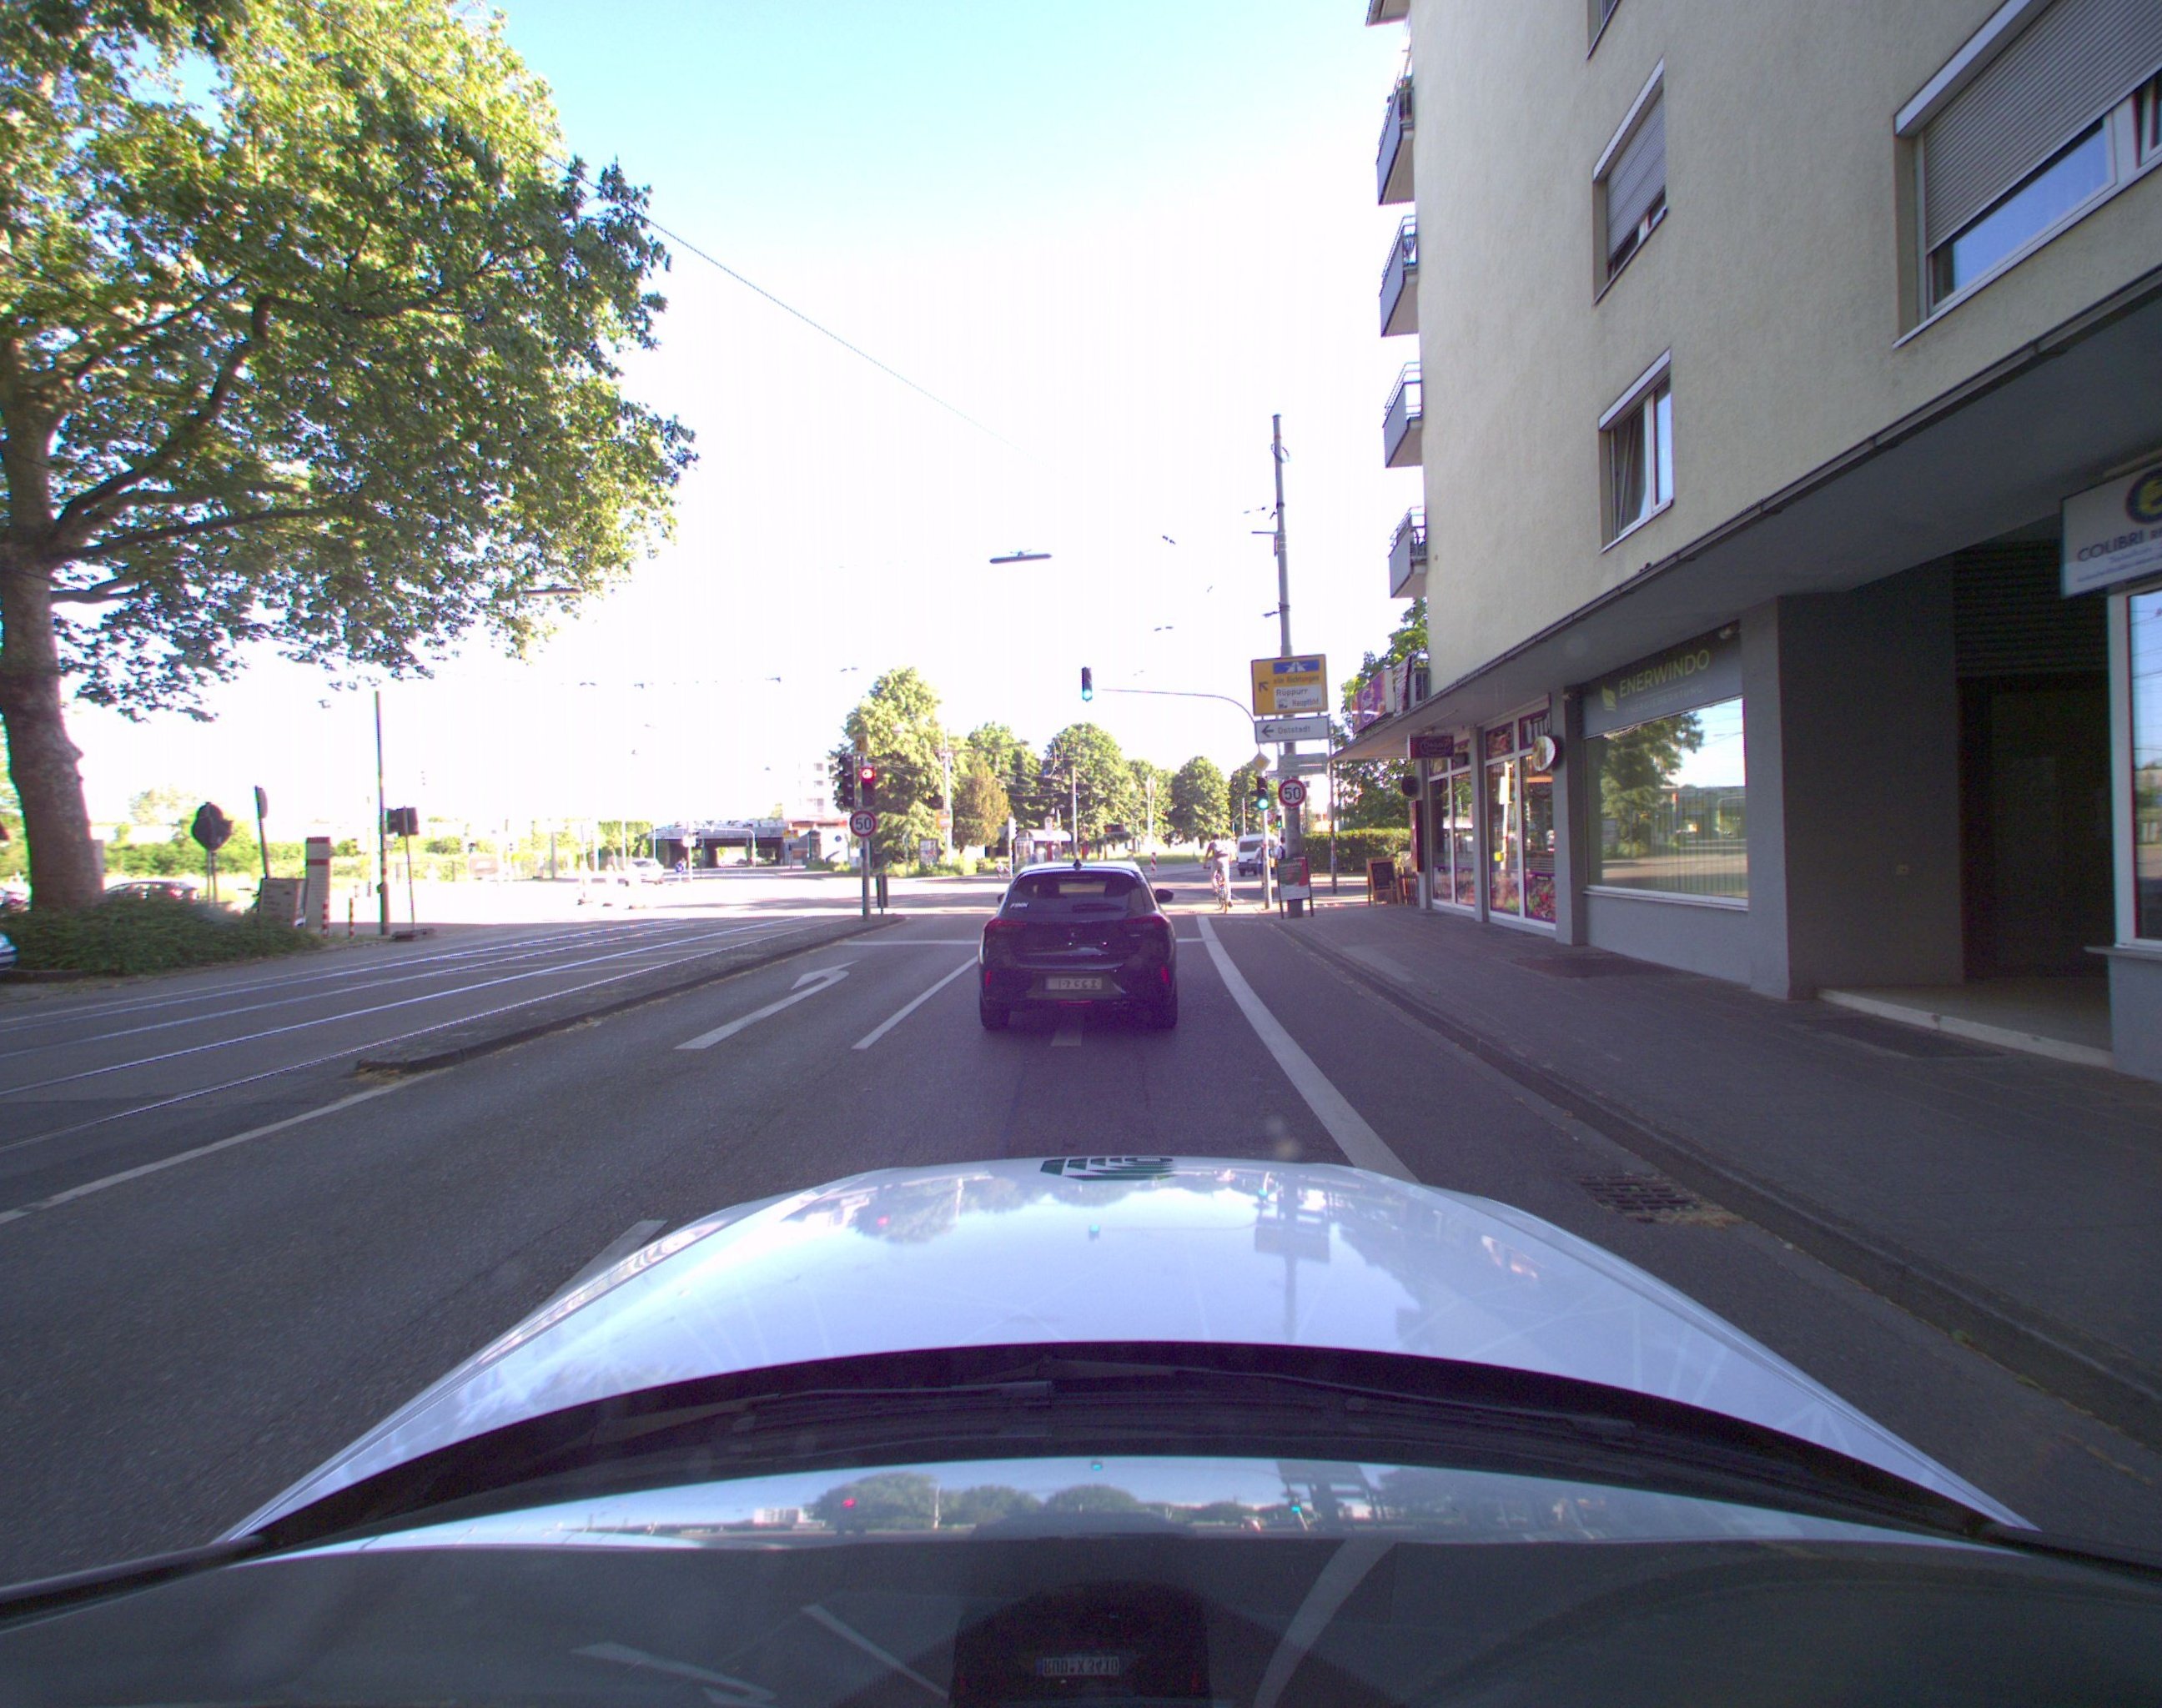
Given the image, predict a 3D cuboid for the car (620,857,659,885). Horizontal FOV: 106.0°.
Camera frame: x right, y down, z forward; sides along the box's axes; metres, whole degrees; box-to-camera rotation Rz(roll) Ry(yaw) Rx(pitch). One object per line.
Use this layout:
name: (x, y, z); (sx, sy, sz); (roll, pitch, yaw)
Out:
car: (-27.888, 1.029, 51.390); (2.006, 1.631, 4.586); (-2, 0, -30)

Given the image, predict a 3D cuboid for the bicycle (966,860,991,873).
bicycle: (-8.108, 0.981, 64.510); (1.866, 0.906, 0.661); (-2, 0, 8)

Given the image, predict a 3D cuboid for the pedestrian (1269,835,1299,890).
pedestrian: (6.934, 0.283, 27.827); (0.696, 1.846, 0.705); (-2, 0, 41)

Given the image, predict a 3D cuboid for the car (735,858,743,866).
car: (-95.730, 2.268, 227.763); (2.003, 2.014, 3.967); (0, -1, -25)

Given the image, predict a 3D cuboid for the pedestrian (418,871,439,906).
pedestrian: (-30.926, 1.627, 38.595); (0.602, 1.596, 0.679); (0, -1, -24)

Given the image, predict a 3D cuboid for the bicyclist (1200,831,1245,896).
bicyclist: (3.462, 0.220, 20.013); (0.837, 1.510, 1.368); (-2, 0, 0)

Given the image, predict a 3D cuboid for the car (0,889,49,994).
car: (-16.727, 1.206, 10.648); (3.980, 1.417, 1.701); (0, -1, -5)

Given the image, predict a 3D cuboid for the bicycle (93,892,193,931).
bicycle: (-23.321, 1.425, 20.273); (1.775, 0.888, 0.357); (-1, 0, -11)

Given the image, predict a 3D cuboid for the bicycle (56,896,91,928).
bicycle: (-26.326, 1.508, 21.266); (1.757, 0.759, 0.360); (-1, 0, 32)

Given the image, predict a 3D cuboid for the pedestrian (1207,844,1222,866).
pedestrian: (11.403, 0.084, 69.357); (0.949, 1.793, 1.001); (-2, 0, 27)

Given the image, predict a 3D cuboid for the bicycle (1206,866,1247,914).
bicycle: (3.536, 0.853, 19.957); (0.665, 1.059, 2.083); (-2, 0, 2)

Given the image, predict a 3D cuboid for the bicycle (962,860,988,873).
bicycle: (-8.233, 0.986, 63.527); (1.866, 0.906, 0.661); (-2, 0, 8)

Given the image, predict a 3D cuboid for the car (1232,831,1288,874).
car: (10.008, -0.062, 45.321); (2.070, 2.277, 4.331); (-1, -1, 26)

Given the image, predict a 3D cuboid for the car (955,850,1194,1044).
car: (0.059, 0.709, 8.232); (1.793, 1.441, 3.943); (-2, 0, 3)

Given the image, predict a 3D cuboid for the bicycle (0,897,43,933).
bicycle: (-25.122, 1.420, 19.245); (0.360, 0.759, 1.759); (-1, 0, -40)

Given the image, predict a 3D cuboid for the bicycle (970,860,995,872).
bicycle: (-7.934, 0.980, 65.378); (1.866, 0.906, 0.661); (-2, 0, 8)

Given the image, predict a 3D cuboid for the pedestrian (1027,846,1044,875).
pedestrian: (-2.734, 0.401, 48.788); (0.704, 1.693, 0.719); (-2, 0, -41)

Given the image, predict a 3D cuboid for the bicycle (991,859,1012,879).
bicycle: (-4.503, 0.850, 46.231); (0.821, 1.059, 1.885); (-2, 0, 4)

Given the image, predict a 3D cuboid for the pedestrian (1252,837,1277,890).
pedestrian: (6.365, 0.319, 28.305); (0.696, 1.792, 0.617); (-2, 0, 1)

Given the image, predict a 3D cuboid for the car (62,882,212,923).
car: (-43.345, 2.184, 37.530); (4.006, 1.419, 1.880); (-1, 6, -25)

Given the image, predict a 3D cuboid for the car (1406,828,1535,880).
car: (15.009, 0.024, 31.609); (4.150, 1.814, 1.811); (-2, -3, 10)
